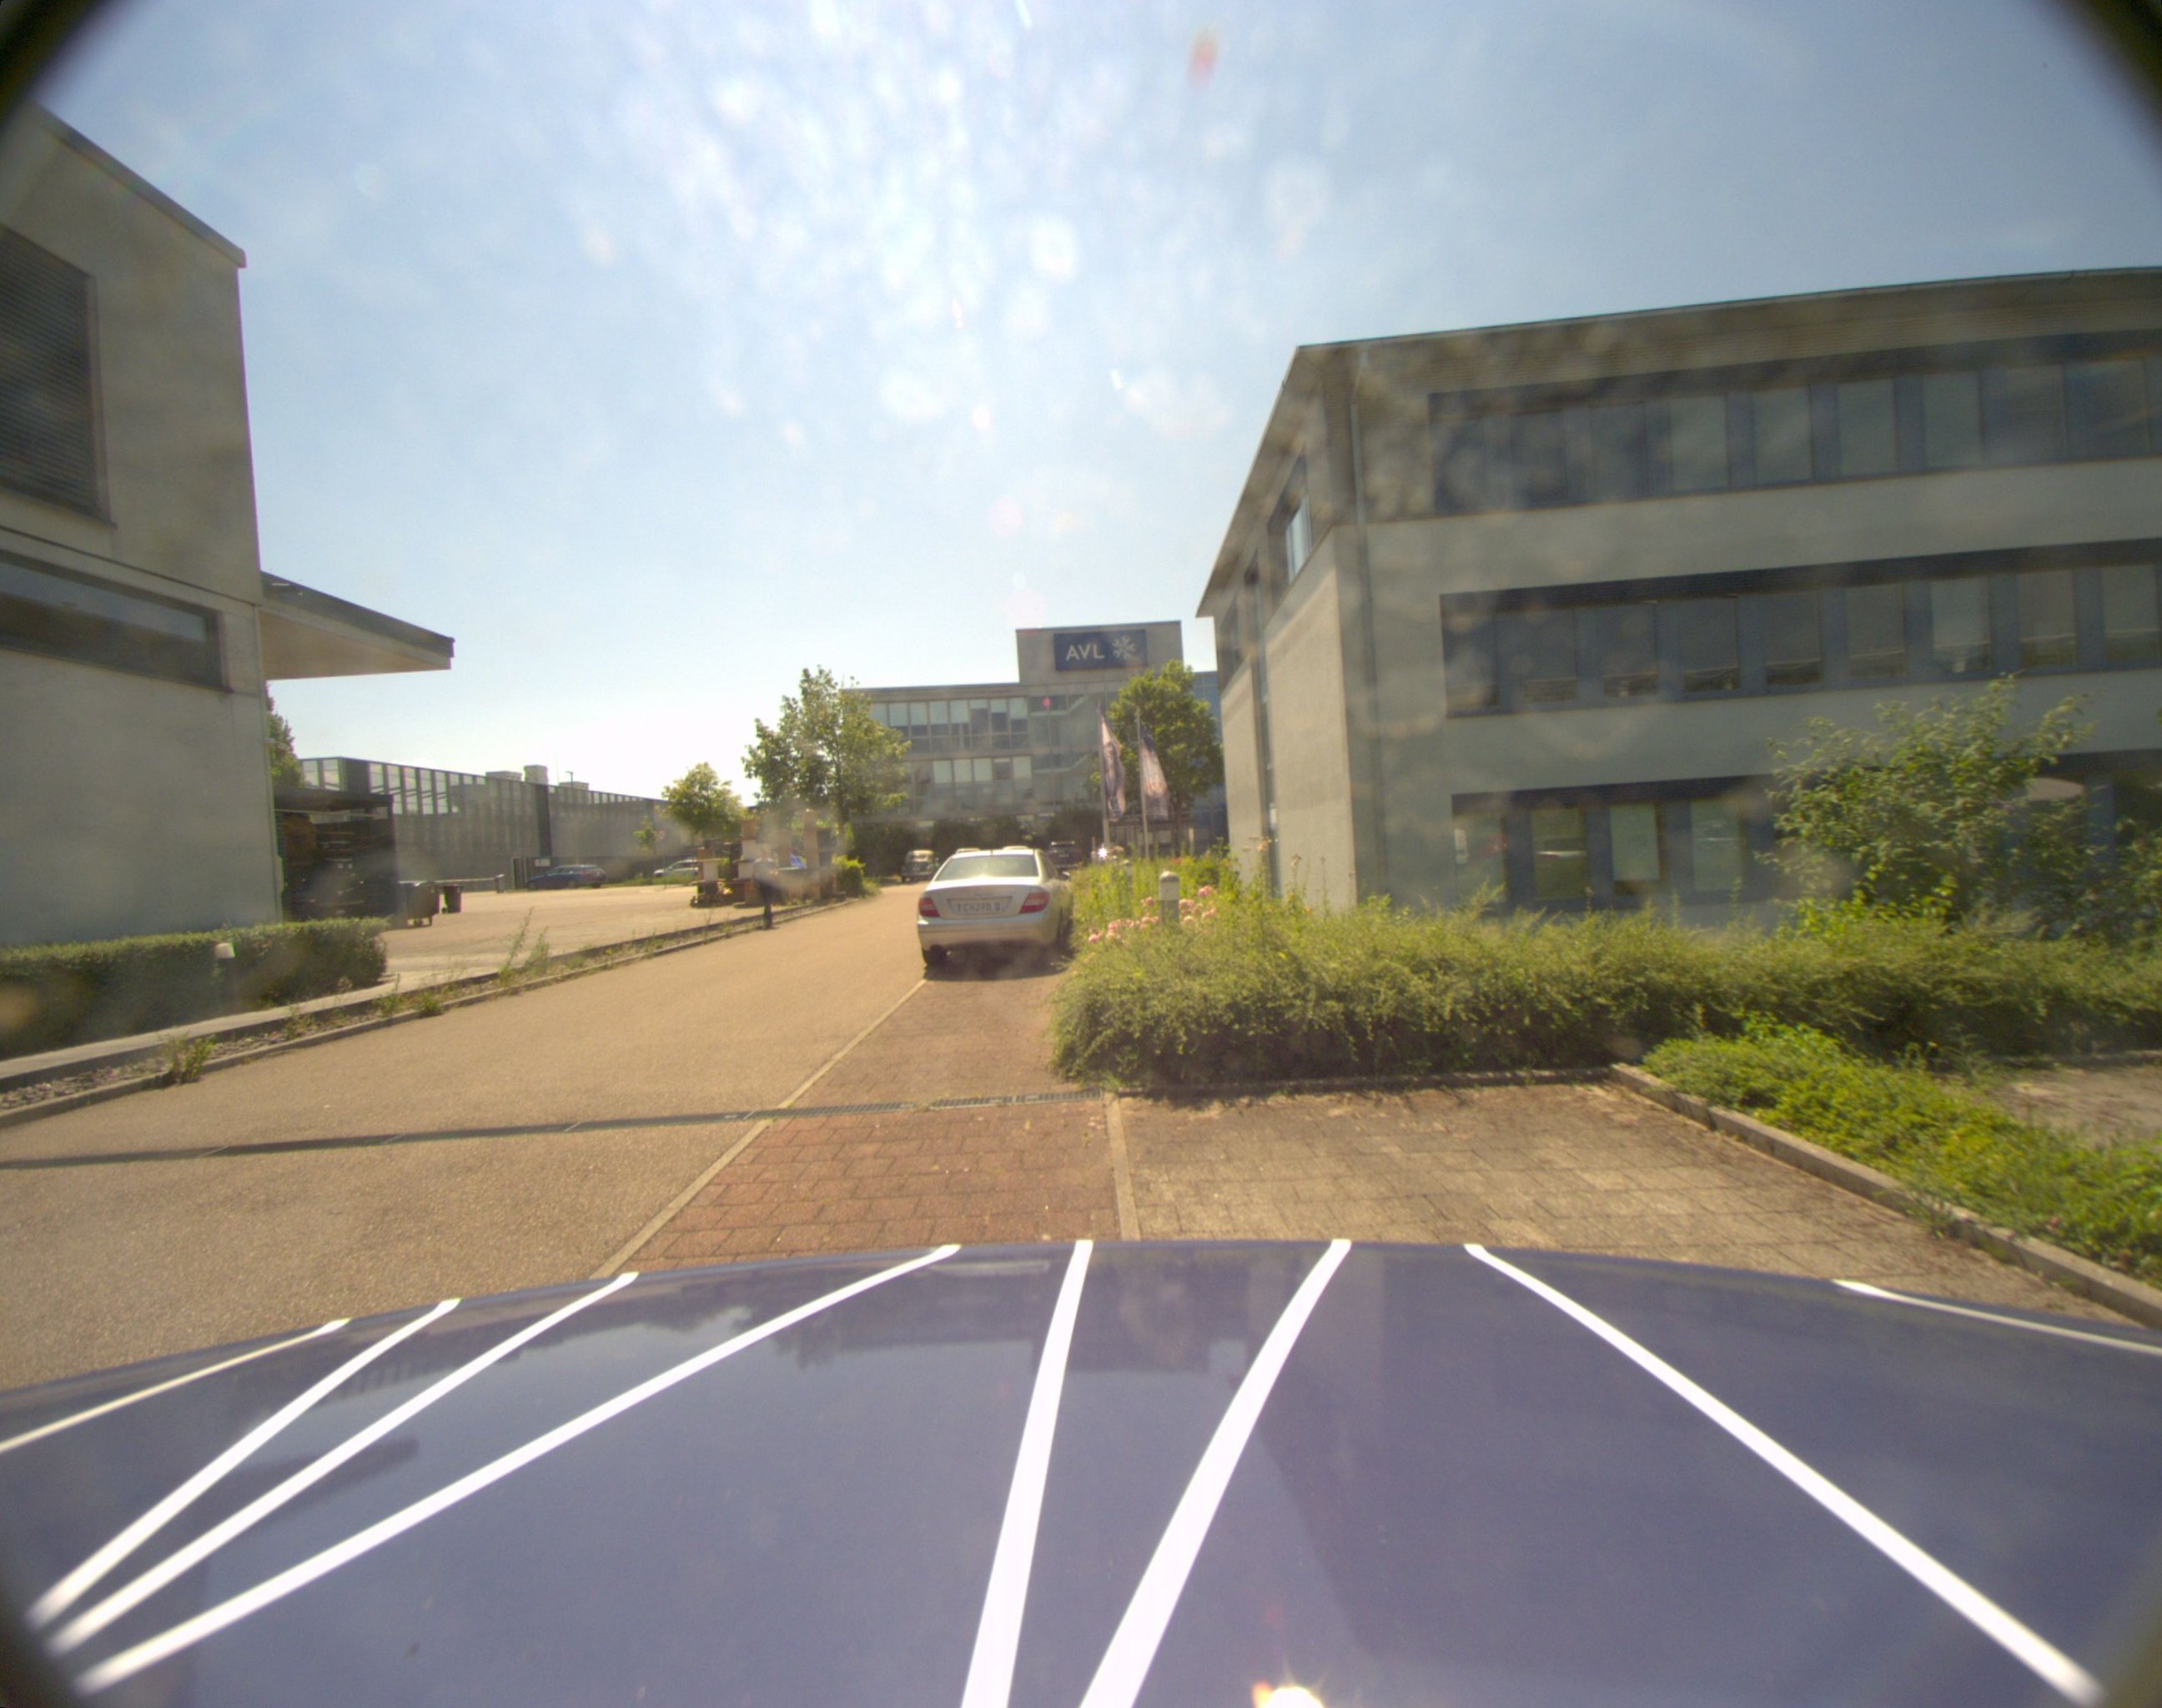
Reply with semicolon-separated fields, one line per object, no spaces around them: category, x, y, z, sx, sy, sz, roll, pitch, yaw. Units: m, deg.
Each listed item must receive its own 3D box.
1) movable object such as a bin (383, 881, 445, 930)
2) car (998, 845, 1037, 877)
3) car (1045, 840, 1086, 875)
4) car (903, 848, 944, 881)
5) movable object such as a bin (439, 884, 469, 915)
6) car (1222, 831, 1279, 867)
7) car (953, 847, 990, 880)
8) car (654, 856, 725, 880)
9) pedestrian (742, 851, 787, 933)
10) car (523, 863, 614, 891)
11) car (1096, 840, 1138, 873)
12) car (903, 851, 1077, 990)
movable object such as a bin;-18.082;1.391;20.618;0.875;1.243;0.802;-2;2;7
car;-3.249;0.306;38.322;1.732;1.444;3.597;-2;2;-8
car;-0.824;0.134;38.224;1.939;1.594;3.857;-2;2;-2
car;-7.699;0.493;37.401;1.522;1.437;3.417;-2;2;-4
movable object such as a bin;-20.397;1.473;24.717;0.586;0.912;0.546;-4;3;-25
car;8.489;-0.268;38.427;1.832;1.628;4.170;-2;1;-1
car;-5.417;0.418;37.642;1.643;1.444;3.597;-2;2;-8
car;-28.256;1.013;54.863;4.406;1.467;1.782;-2;1;15
pedestrian;-7.169;0.839;17.241;0.810;1.759;0.767;-4;3;-23
car;-30.533;1.365;45.311;4.439;1.402;1.861;-3;1;12
car;1.746;0.074;38.173;1.730;1.476;4.395;-3;1;-1
car;-1.036;0.748;10.667;1.733;1.448;4.147;-2;1;2
